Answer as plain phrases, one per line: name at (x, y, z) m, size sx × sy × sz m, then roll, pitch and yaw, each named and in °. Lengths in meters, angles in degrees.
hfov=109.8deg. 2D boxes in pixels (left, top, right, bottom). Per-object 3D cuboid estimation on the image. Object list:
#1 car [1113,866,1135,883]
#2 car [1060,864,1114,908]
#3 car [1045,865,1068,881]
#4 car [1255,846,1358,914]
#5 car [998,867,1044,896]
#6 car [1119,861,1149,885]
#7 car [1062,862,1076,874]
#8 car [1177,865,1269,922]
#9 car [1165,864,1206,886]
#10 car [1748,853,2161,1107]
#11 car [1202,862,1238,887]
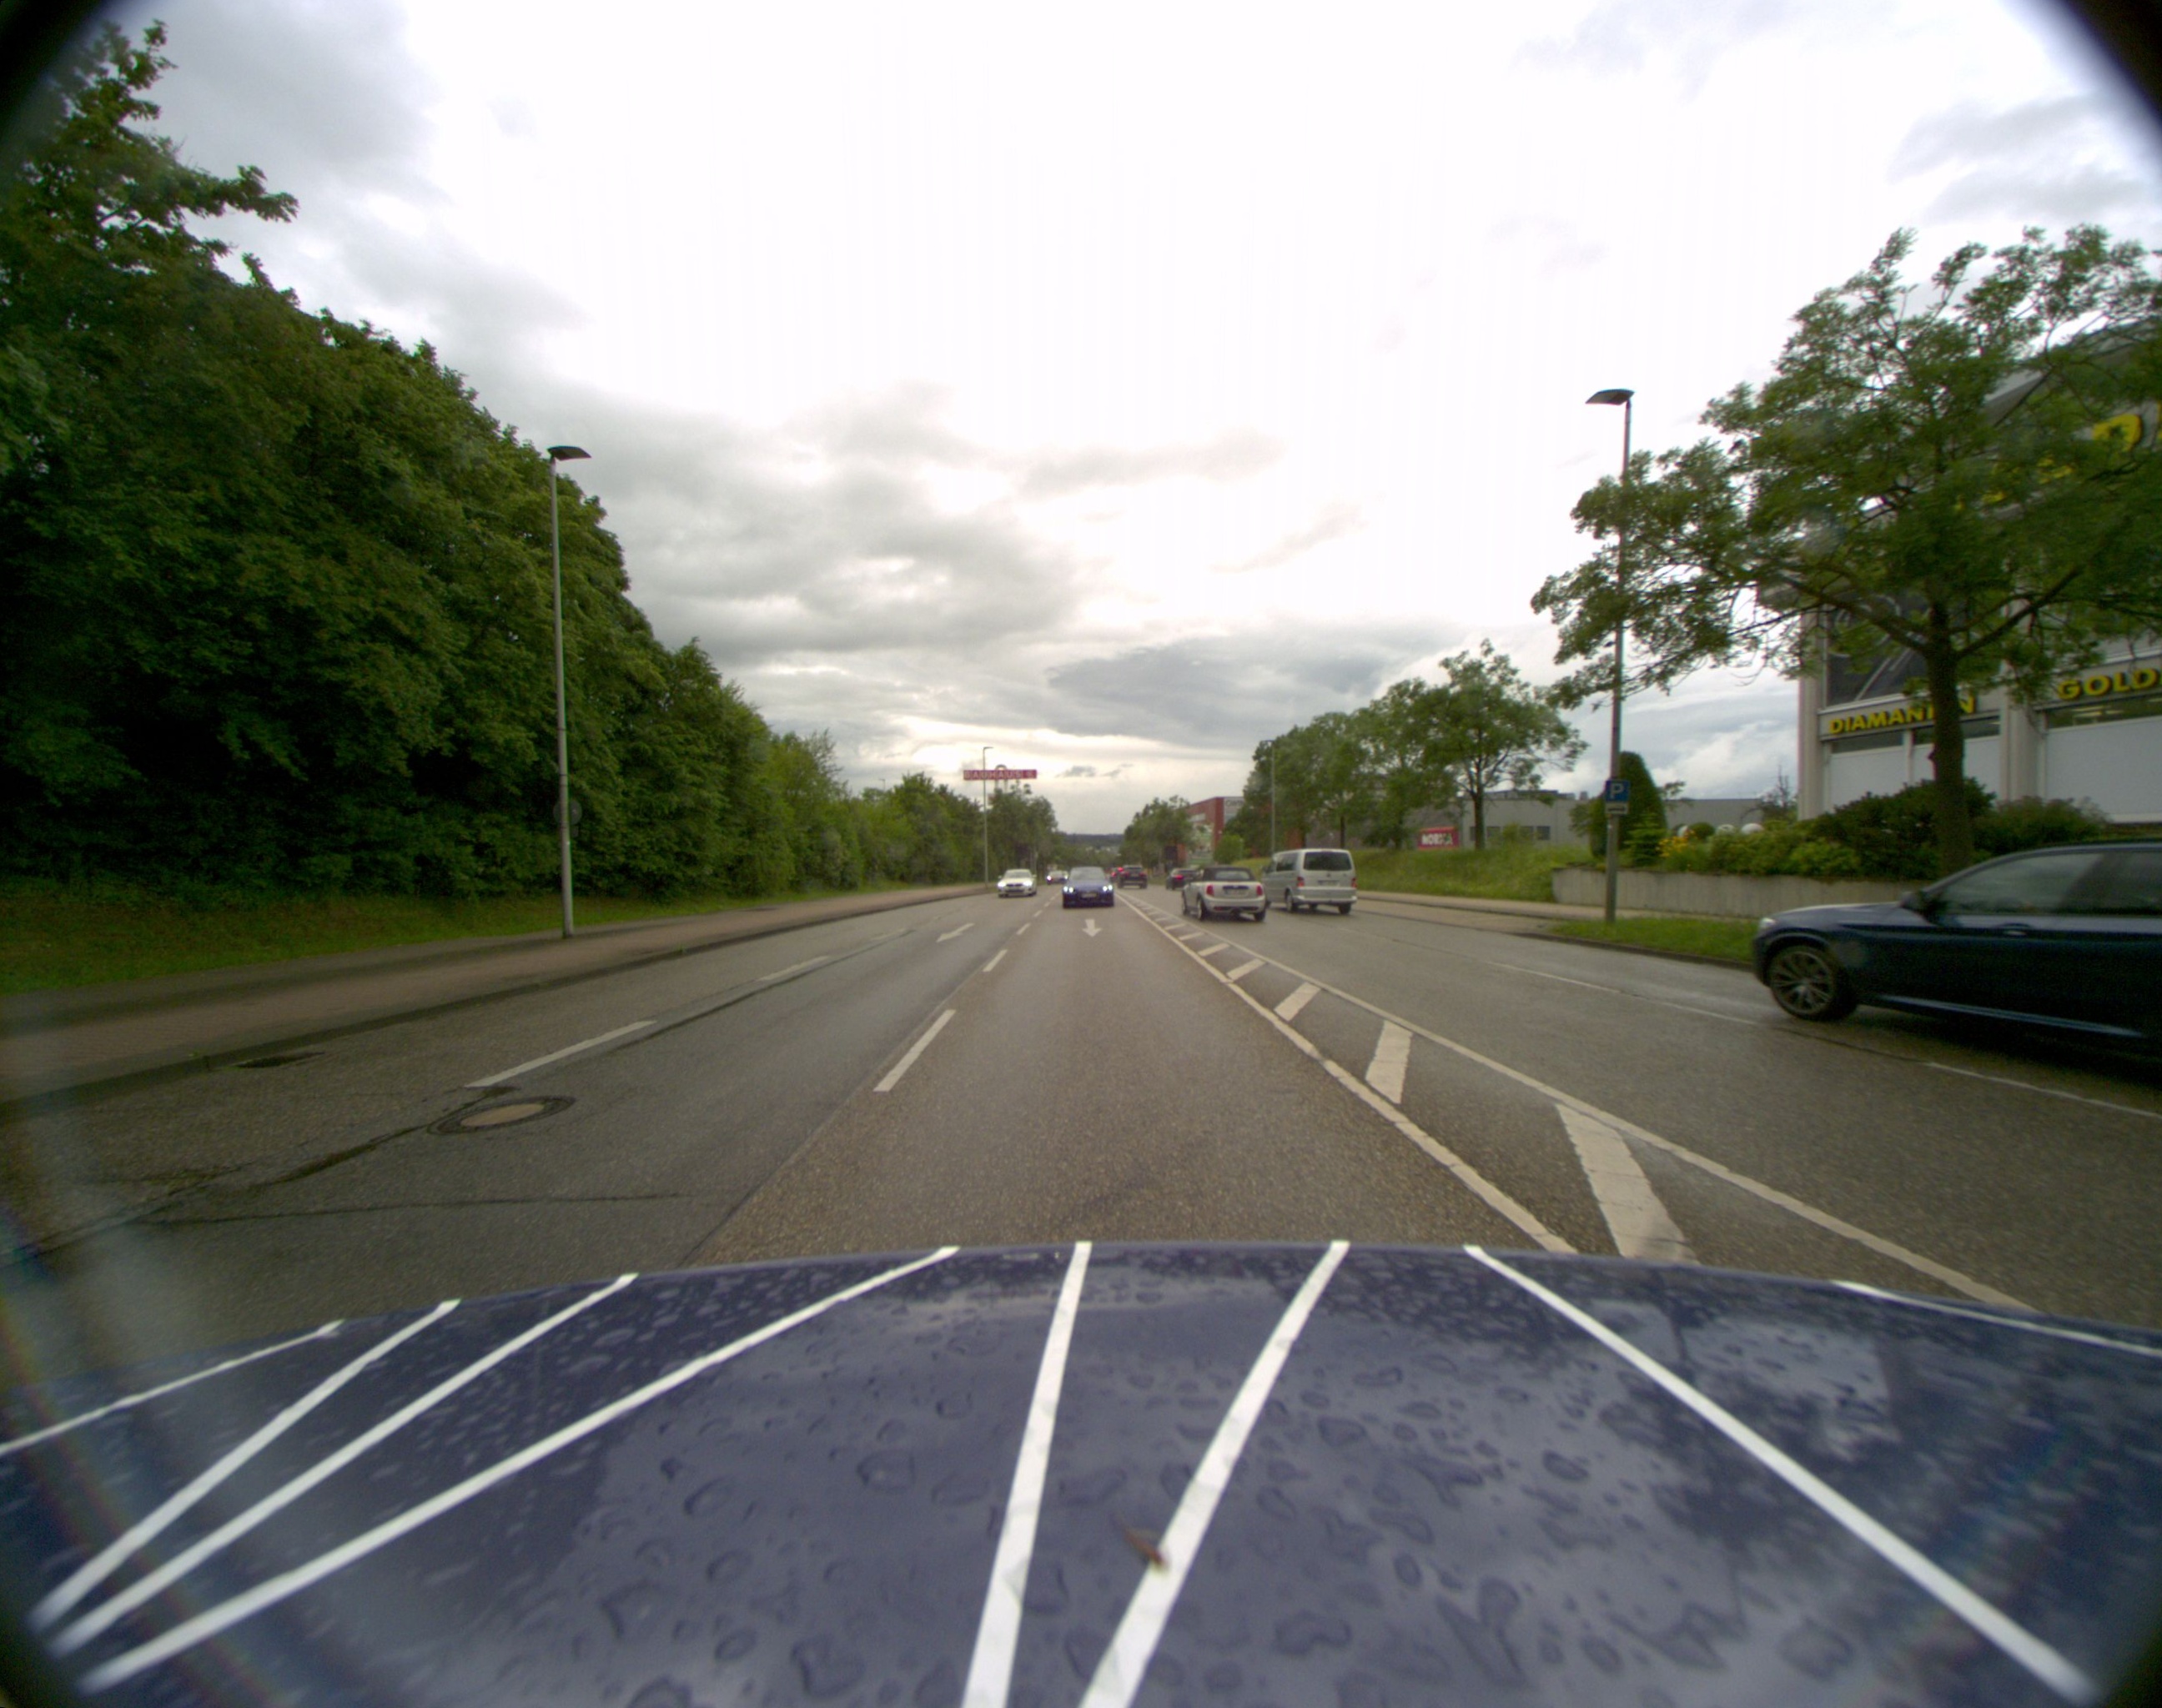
car at (4.085, 1.940, 73.167) m, size 1.800 × 1.574 × 4.198 m, roll 0°, pitch -1°, yaw -1°
car at (0.305, 1.158, 28.734) m, size 1.827 × 1.473 × 4.841 m, roll -2°, pitch -1°, yaw 2°
car at (-2.682, 2.083, 84.562) m, size 2.113 × 1.609 × 4.842 m, roll -1°, pitch -1°, yaw 2°
car at (7.139, 0.779, 24.633) m, size 1.800 × 1.971 × 4.898 m, roll 1°, pitch 0°, yaw -1°
car at (-3.198, 1.450, 41.133) m, size 1.863 × 1.473 × 4.002 m, roll -1°, pitch -1°, yaw 5°
car at (3.739, 1.341, 54.253) m, size 1.827 × 1.598 × 4.284 m, roll 0°, pitch 0°, yaw 0°
car at (-1.631, 1.944, 104.667) m, size 1.853 × 1.565 × 3.999 m, roll -2°, pitch 0°, yaw -1°
car at (3.823, 1.022, 21.110) m, size 1.671 × 1.390 × 3.999 m, roll 1°, pitch 0°, yaw -2°
car at (6.785, 1.335, 49.700) m, size 1.798 × 1.393 × 4.299 m, roll 0°, pitch -1°, yaw -4°
car at (7.673, 0.808, 5.414) m, size 1.756 × 1.601 × 4.532 m, roll 1°, pitch 0°, yaw -2°
car at (9.932, 1.438, 54.695) m, size 1.730 × 1.658 × 4.488 m, roll -2°, pitch -1°, yaw 0°
